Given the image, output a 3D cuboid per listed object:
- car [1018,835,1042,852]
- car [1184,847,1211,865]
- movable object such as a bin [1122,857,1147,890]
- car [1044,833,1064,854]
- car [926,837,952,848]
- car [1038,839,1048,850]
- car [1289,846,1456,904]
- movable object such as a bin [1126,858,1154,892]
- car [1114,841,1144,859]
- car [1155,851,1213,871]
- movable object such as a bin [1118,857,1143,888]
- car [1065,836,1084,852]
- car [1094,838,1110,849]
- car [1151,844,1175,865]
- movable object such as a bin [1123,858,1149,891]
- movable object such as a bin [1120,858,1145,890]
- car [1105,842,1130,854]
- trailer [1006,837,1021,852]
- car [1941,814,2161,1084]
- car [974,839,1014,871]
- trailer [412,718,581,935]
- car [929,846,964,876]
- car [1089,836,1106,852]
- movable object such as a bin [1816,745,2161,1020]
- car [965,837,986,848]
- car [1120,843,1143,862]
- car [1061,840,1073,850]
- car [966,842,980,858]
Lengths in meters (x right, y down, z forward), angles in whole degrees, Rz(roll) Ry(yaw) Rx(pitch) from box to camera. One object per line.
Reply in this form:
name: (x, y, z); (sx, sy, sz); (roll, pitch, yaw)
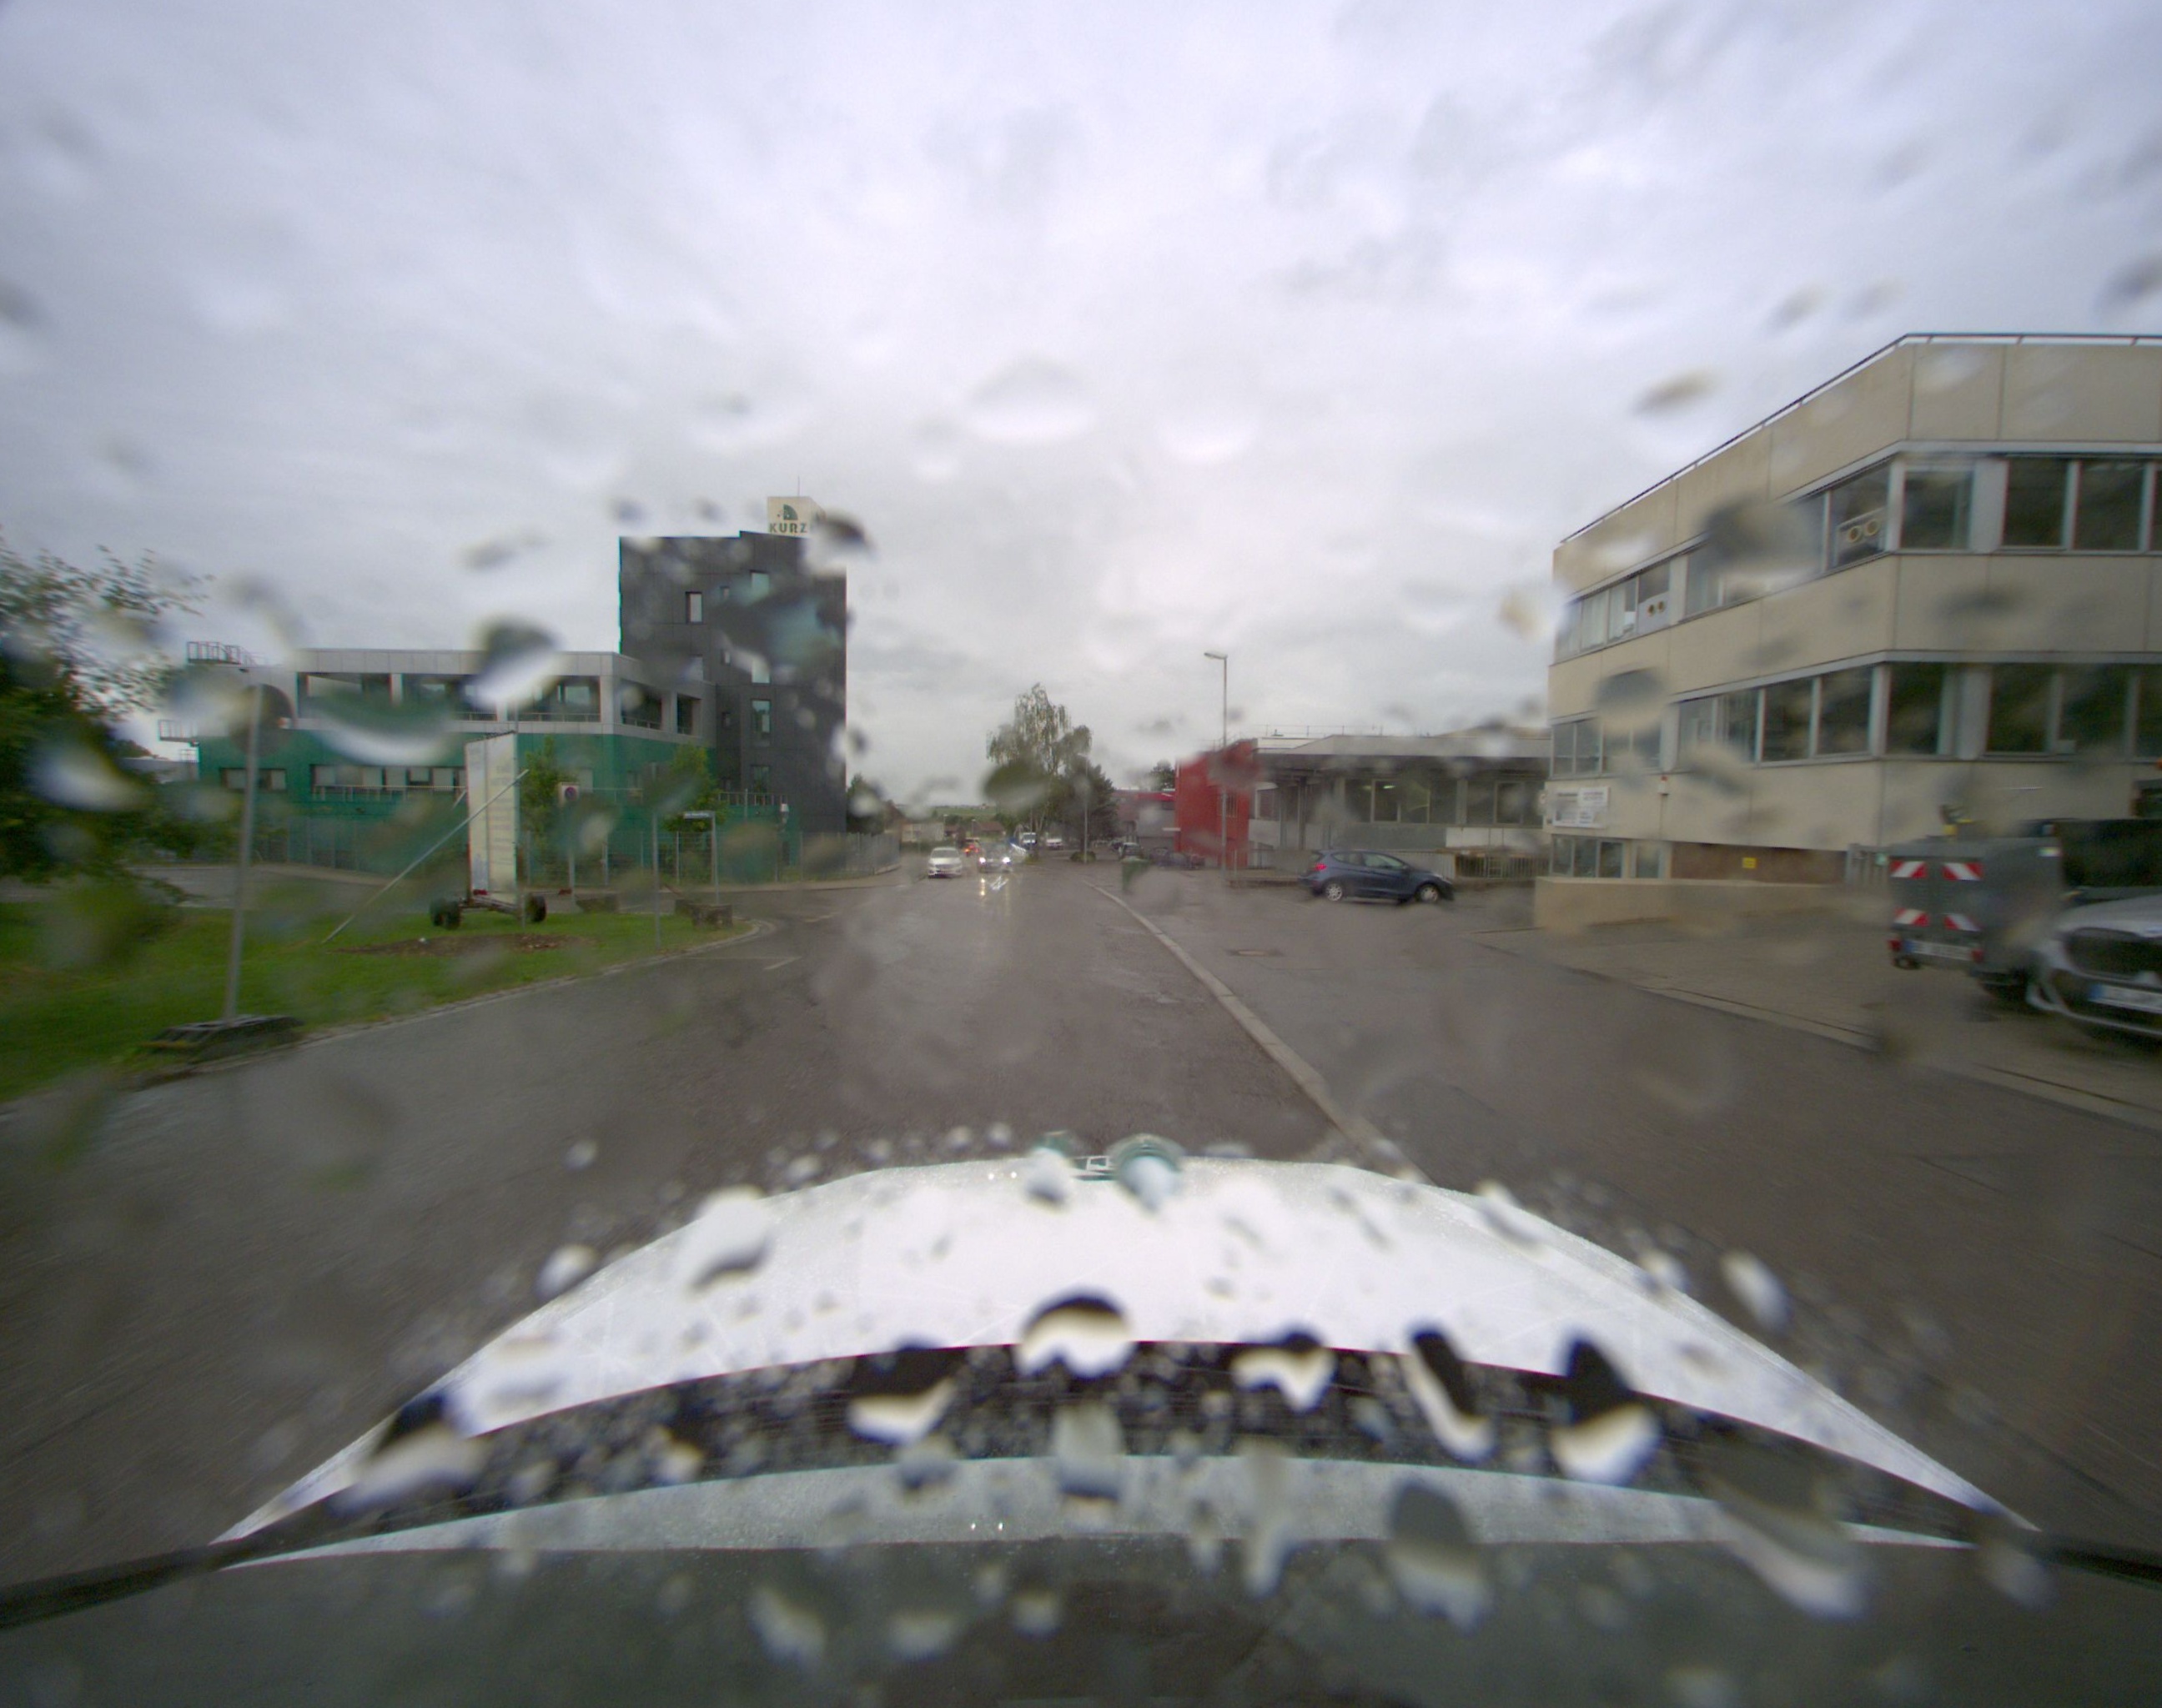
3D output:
car: (-6.387, -1.241, 101.542); (2.268, 2.014, 3.981); (0, -1, -14)
car: (9.510, 0.194, 66.569); (1.722, 1.422, 4.001); (0, -1, 1)
movable object such as a bin: (1.811, 0.671, 27.650); (0.807, 1.090, 0.541); (-1, 0, -4)
car: (-3.376, -1.297, 101.929); (2.190, 2.459, 3.991); (0, -1, -7)
car: (-24.349, -1.967, 139.618); (3.972, 1.881, 2.001); (0, 0, 1)
car: (-5.057, -1.200, 107.554); (1.288, 1.424, 2.542); (0, -1, -5)
car: (7.783, 0.560, 22.015); (3.881, 1.383, 1.821); (2, -1, 0)
movable object such as a bin: (1.907, 0.674, 26.426); (0.805, 1.092, 0.708); (-1, 0, -4)
car: (4.337, -0.346, 74.325); (2.062, 1.552, 3.991); (0, -1, -6)
car: (6.174, 0.381, 48.967); (3.386, 1.163, 1.793); (0, 0, 3)
movable object such as a bin: (1.744, 0.659, 28.814); (0.800, 1.079, 0.624); (-1, 0, -4)
car: (-0.895, -1.244, 102.848); (2.142, 2.014, 3.932); (0, -1, -5)
car: (2.790, -1.363, 109.033); (1.636, 1.453, 3.502); (0, -1, -8)
car: (6.768, 0.034, 67.367); (1.733, 1.653, 4.001); (0, -1, 1)
movable object such as a bin: (1.829, 0.676, 27.075); (0.773, 1.076, 0.583); (-1, 0, -4)
movable object such as a bin: (1.780, 0.673, 28.210); (0.807, 1.076, 0.581); (-1, 0, -4)
car: (3.977, -0.663, 88.972); (2.542, 1.352, 1.241); (0, 0, -4)
trailer: (-8.747, -1.228, 105.589); (1.850, 2.013, 3.992); (0, 0, -6)
car: (8.991, 0.533, 5.149); (5.073, 1.613, 1.925); (-1, 1, 1)
car: (-5.473, 0.064, 50.688); (1.887, 1.886, 5.050); (0, 0, -13)
trailer: (-12.856, -0.526, 17.845); (4.133, 4.203, 2.019); (-1, 0, 40)
car: (-7.262, 0.358, 43.904); (1.770, 1.513, 4.131); (-1, 0, -10)
car: (2.060, -1.250, 103.177); (1.778, 2.014, 3.626); (0, -1, -5)
movable object such as a bin: (9.122, 0.201, 6.991); (4.238, 2.110, 1.478); (-1, 0, 2)
car: (-23.517, -2.546, 181.264); (4.217, 2.226, 2.004); (0, -1, 7)
car: (4.130, -0.095, 66.846); (1.691, 1.475, 4.001); (0, -1, 1)
car: (-1.886, -1.169, 108.502); (1.396, 1.326, 2.696); (0, -1, -5)
car: (-14.665, -0.513, 110.630); (1.868, 2.029, 3.990); (0, -1, -7)
